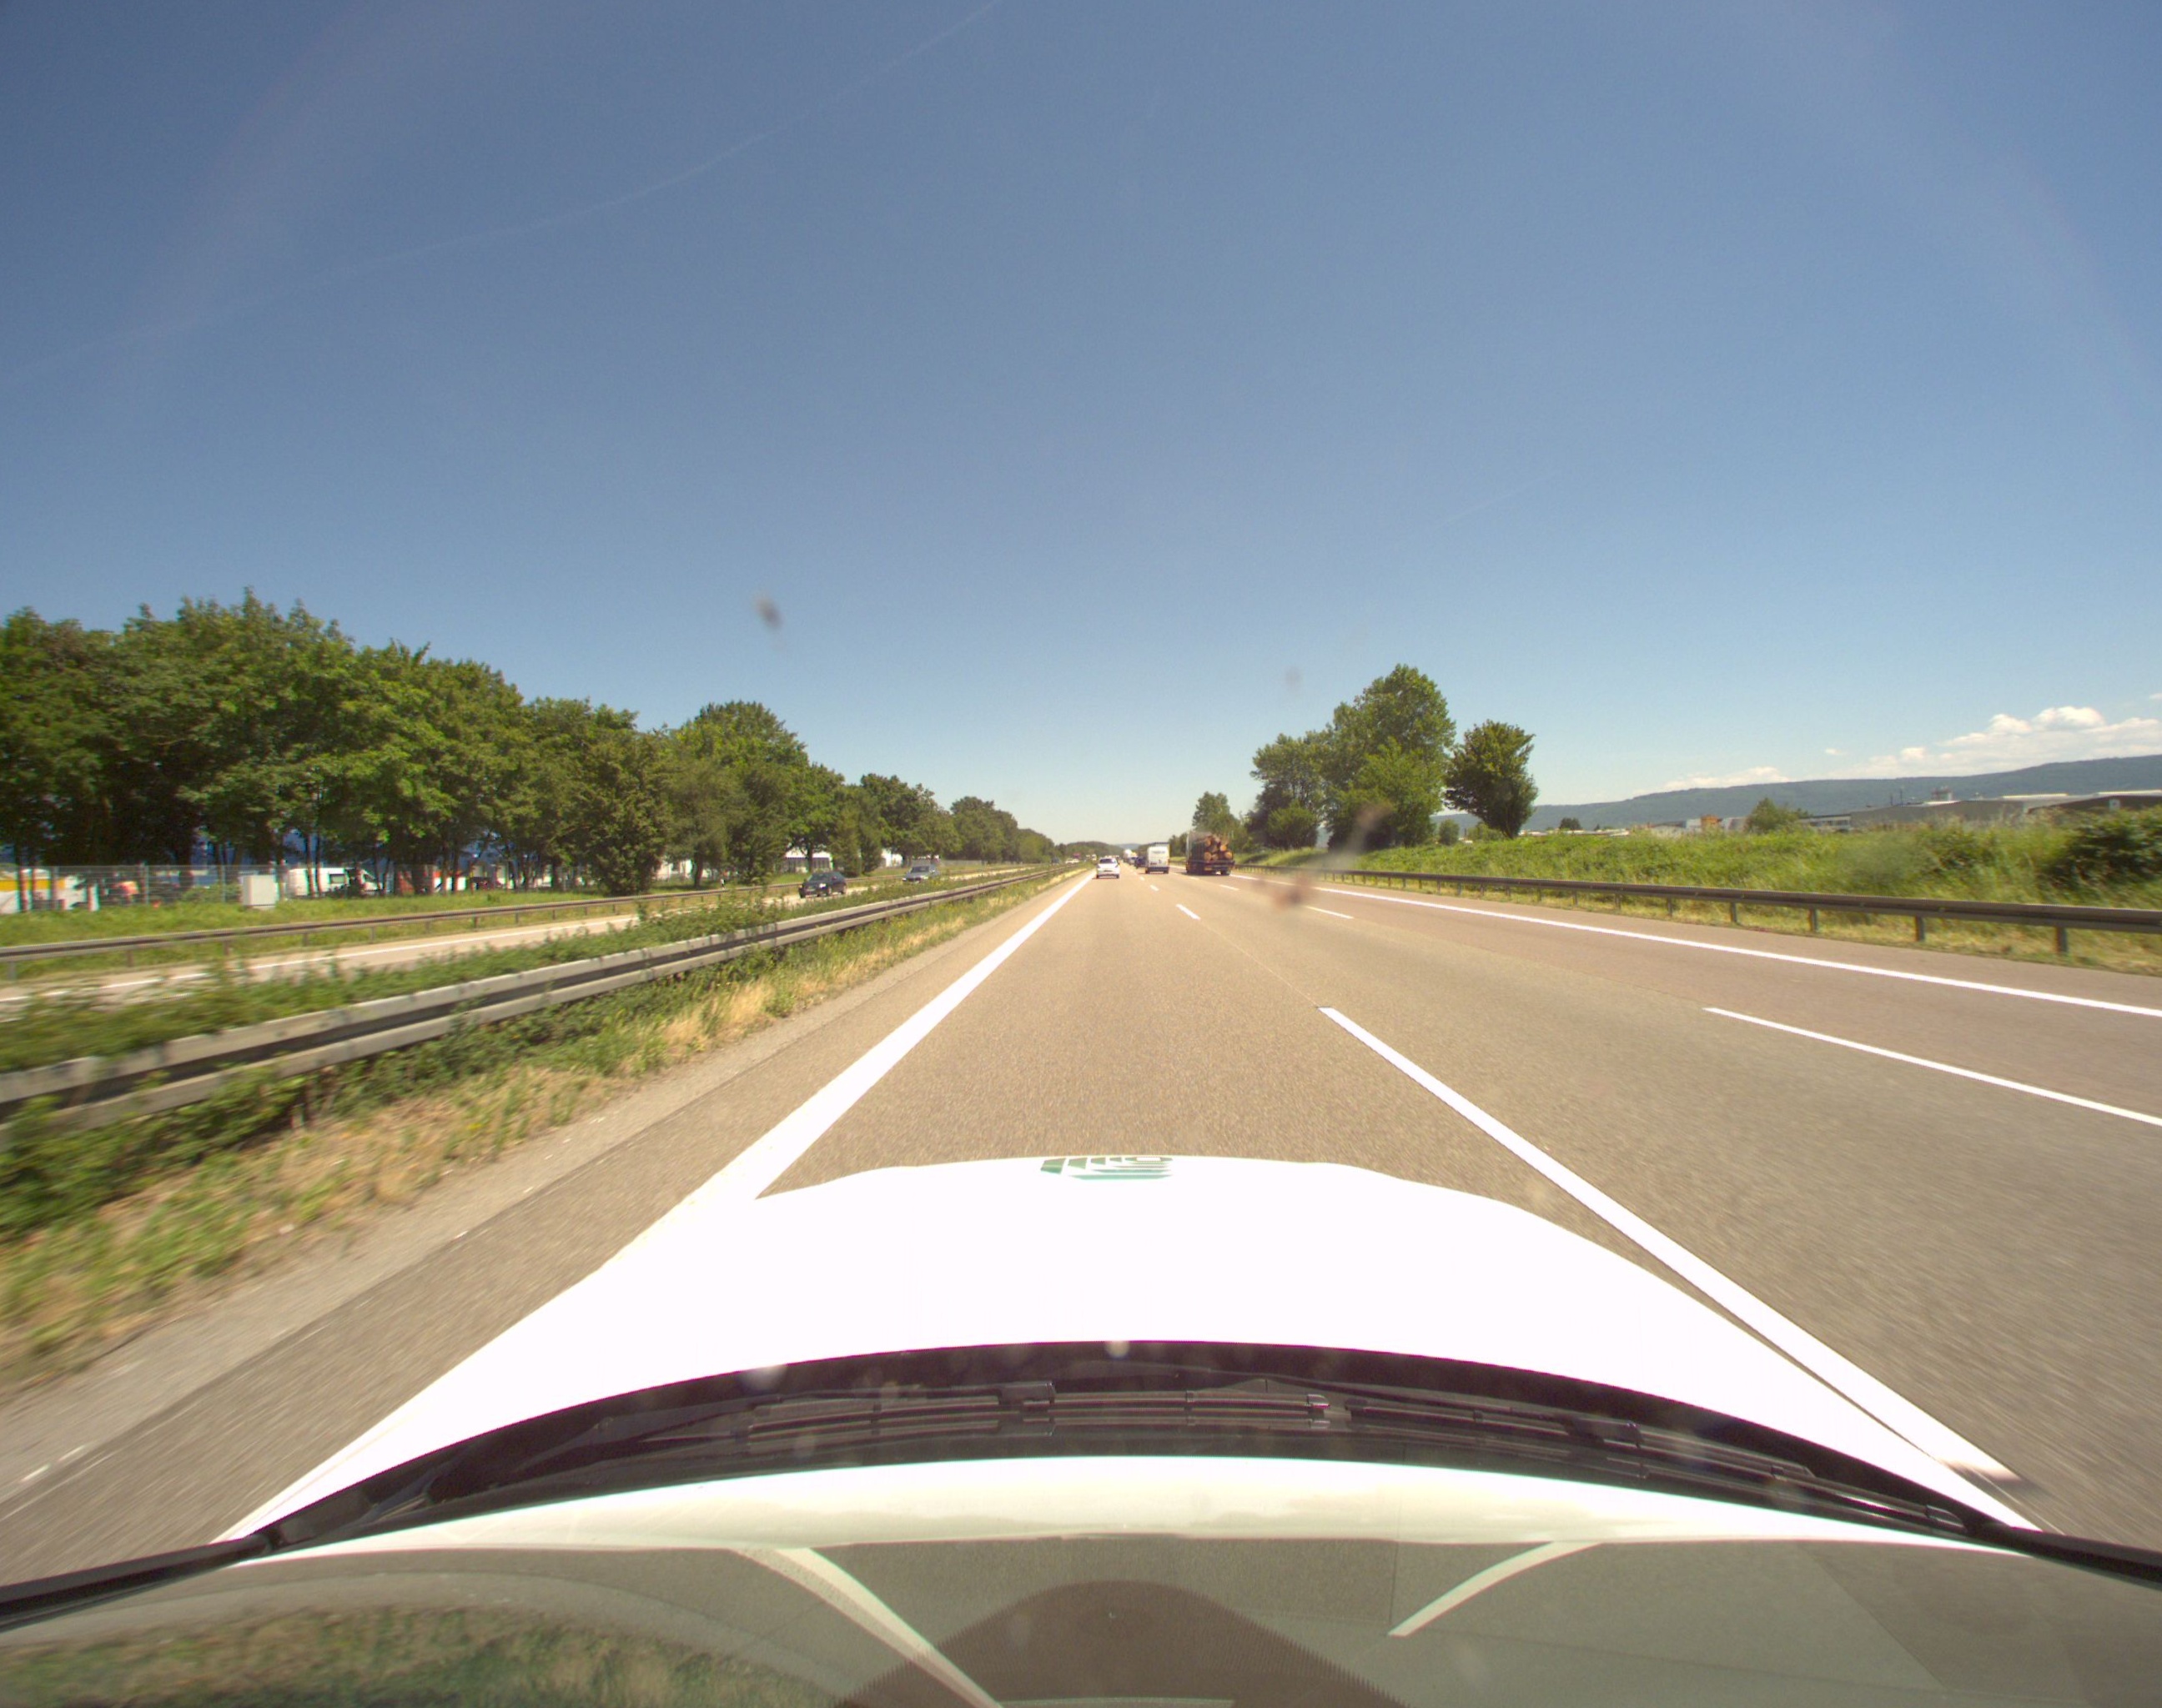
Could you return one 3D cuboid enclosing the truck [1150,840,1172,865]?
[{"bbox_3d":[14.012,-0.139,143.960,3.066,4.209,16.855,0,0,3],"label":"truck"}]

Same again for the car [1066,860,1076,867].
[{"bbox_3d":[-2.189,2.140,182.105,1.986,1.640,4.575,0,0,2],"label":"car"}]

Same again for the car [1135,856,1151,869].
[{"bbox_3d":[8.316,1.155,109.422,1.850,1.652,4.000,0,0,1],"label":"car"}]

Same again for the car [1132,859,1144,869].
[{"bbox_3d":[9.576,1.709,136.317,1.850,1.652,4.000,0,0,1],"label":"car"}]

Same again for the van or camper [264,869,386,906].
[{"bbox_3d":[-59.758,2.566,64.712,2.349,2.552,7.726,-2,0,1],"label":"van or camper"}]

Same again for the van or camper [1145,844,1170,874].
[{"bbox_3d":[7.207,0.474,77.083,2.050,2.622,5.988,-1,0,2],"label":"van or camper"}]

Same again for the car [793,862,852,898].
[{"bbox_3d":[-15.144,1.496,47.929,1.986,2.014,4.274,0,0,2],"label":"car"}]

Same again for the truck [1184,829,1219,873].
[{"bbox_3d":[11.516,-0.277,78.399,2.659,3.994,6.640,0,0,2],"label":"truck"}]

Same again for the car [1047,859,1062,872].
[{"bbox_3d":[-4.103,1.792,127.722,1.986,1.886,5.651,0,0,2],"label":"car"}]

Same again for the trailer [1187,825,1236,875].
[{"bbox_3d":[11.195,-0.271,71.084,2.642,3.958,13.644,0,0,2],"label":"trailer"}]

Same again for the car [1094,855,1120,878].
[{"bbox_3d":[1.907,0.890,60.153,1.850,1.652,4.000,0,0,1],"label":"car"}]

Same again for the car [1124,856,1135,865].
[{"bbox_3d":[9.308,1.244,156.891,1.850,1.652,4.000,0,0,1],"label":"car"}]

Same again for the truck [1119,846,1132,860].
[{"bbox_3d":[13.740,-0.230,252.150,3.247,4.209,16.840,0,0,0],"label":"truck"}]

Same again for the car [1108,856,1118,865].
[{"bbox_3d":[5.765,1.194,146.994,1.850,1.652,4.000,0,0,1],"label":"car"}]

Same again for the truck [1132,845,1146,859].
[{"bbox_3d":[18.715,-0.504,262.915,3.247,4.209,16.840,0,0,0],"label":"truck"}]

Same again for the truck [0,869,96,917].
[{"bbox_3d":[-74.986,2.760,56.234,3.535,3.191,8.301,-3,0,2],"label":"truck"}]

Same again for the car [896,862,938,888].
[{"bbox_3d":[-10.924,1.371,54.481,1.786,1.578,4.212,-2,-1,1],"label":"car"}]
